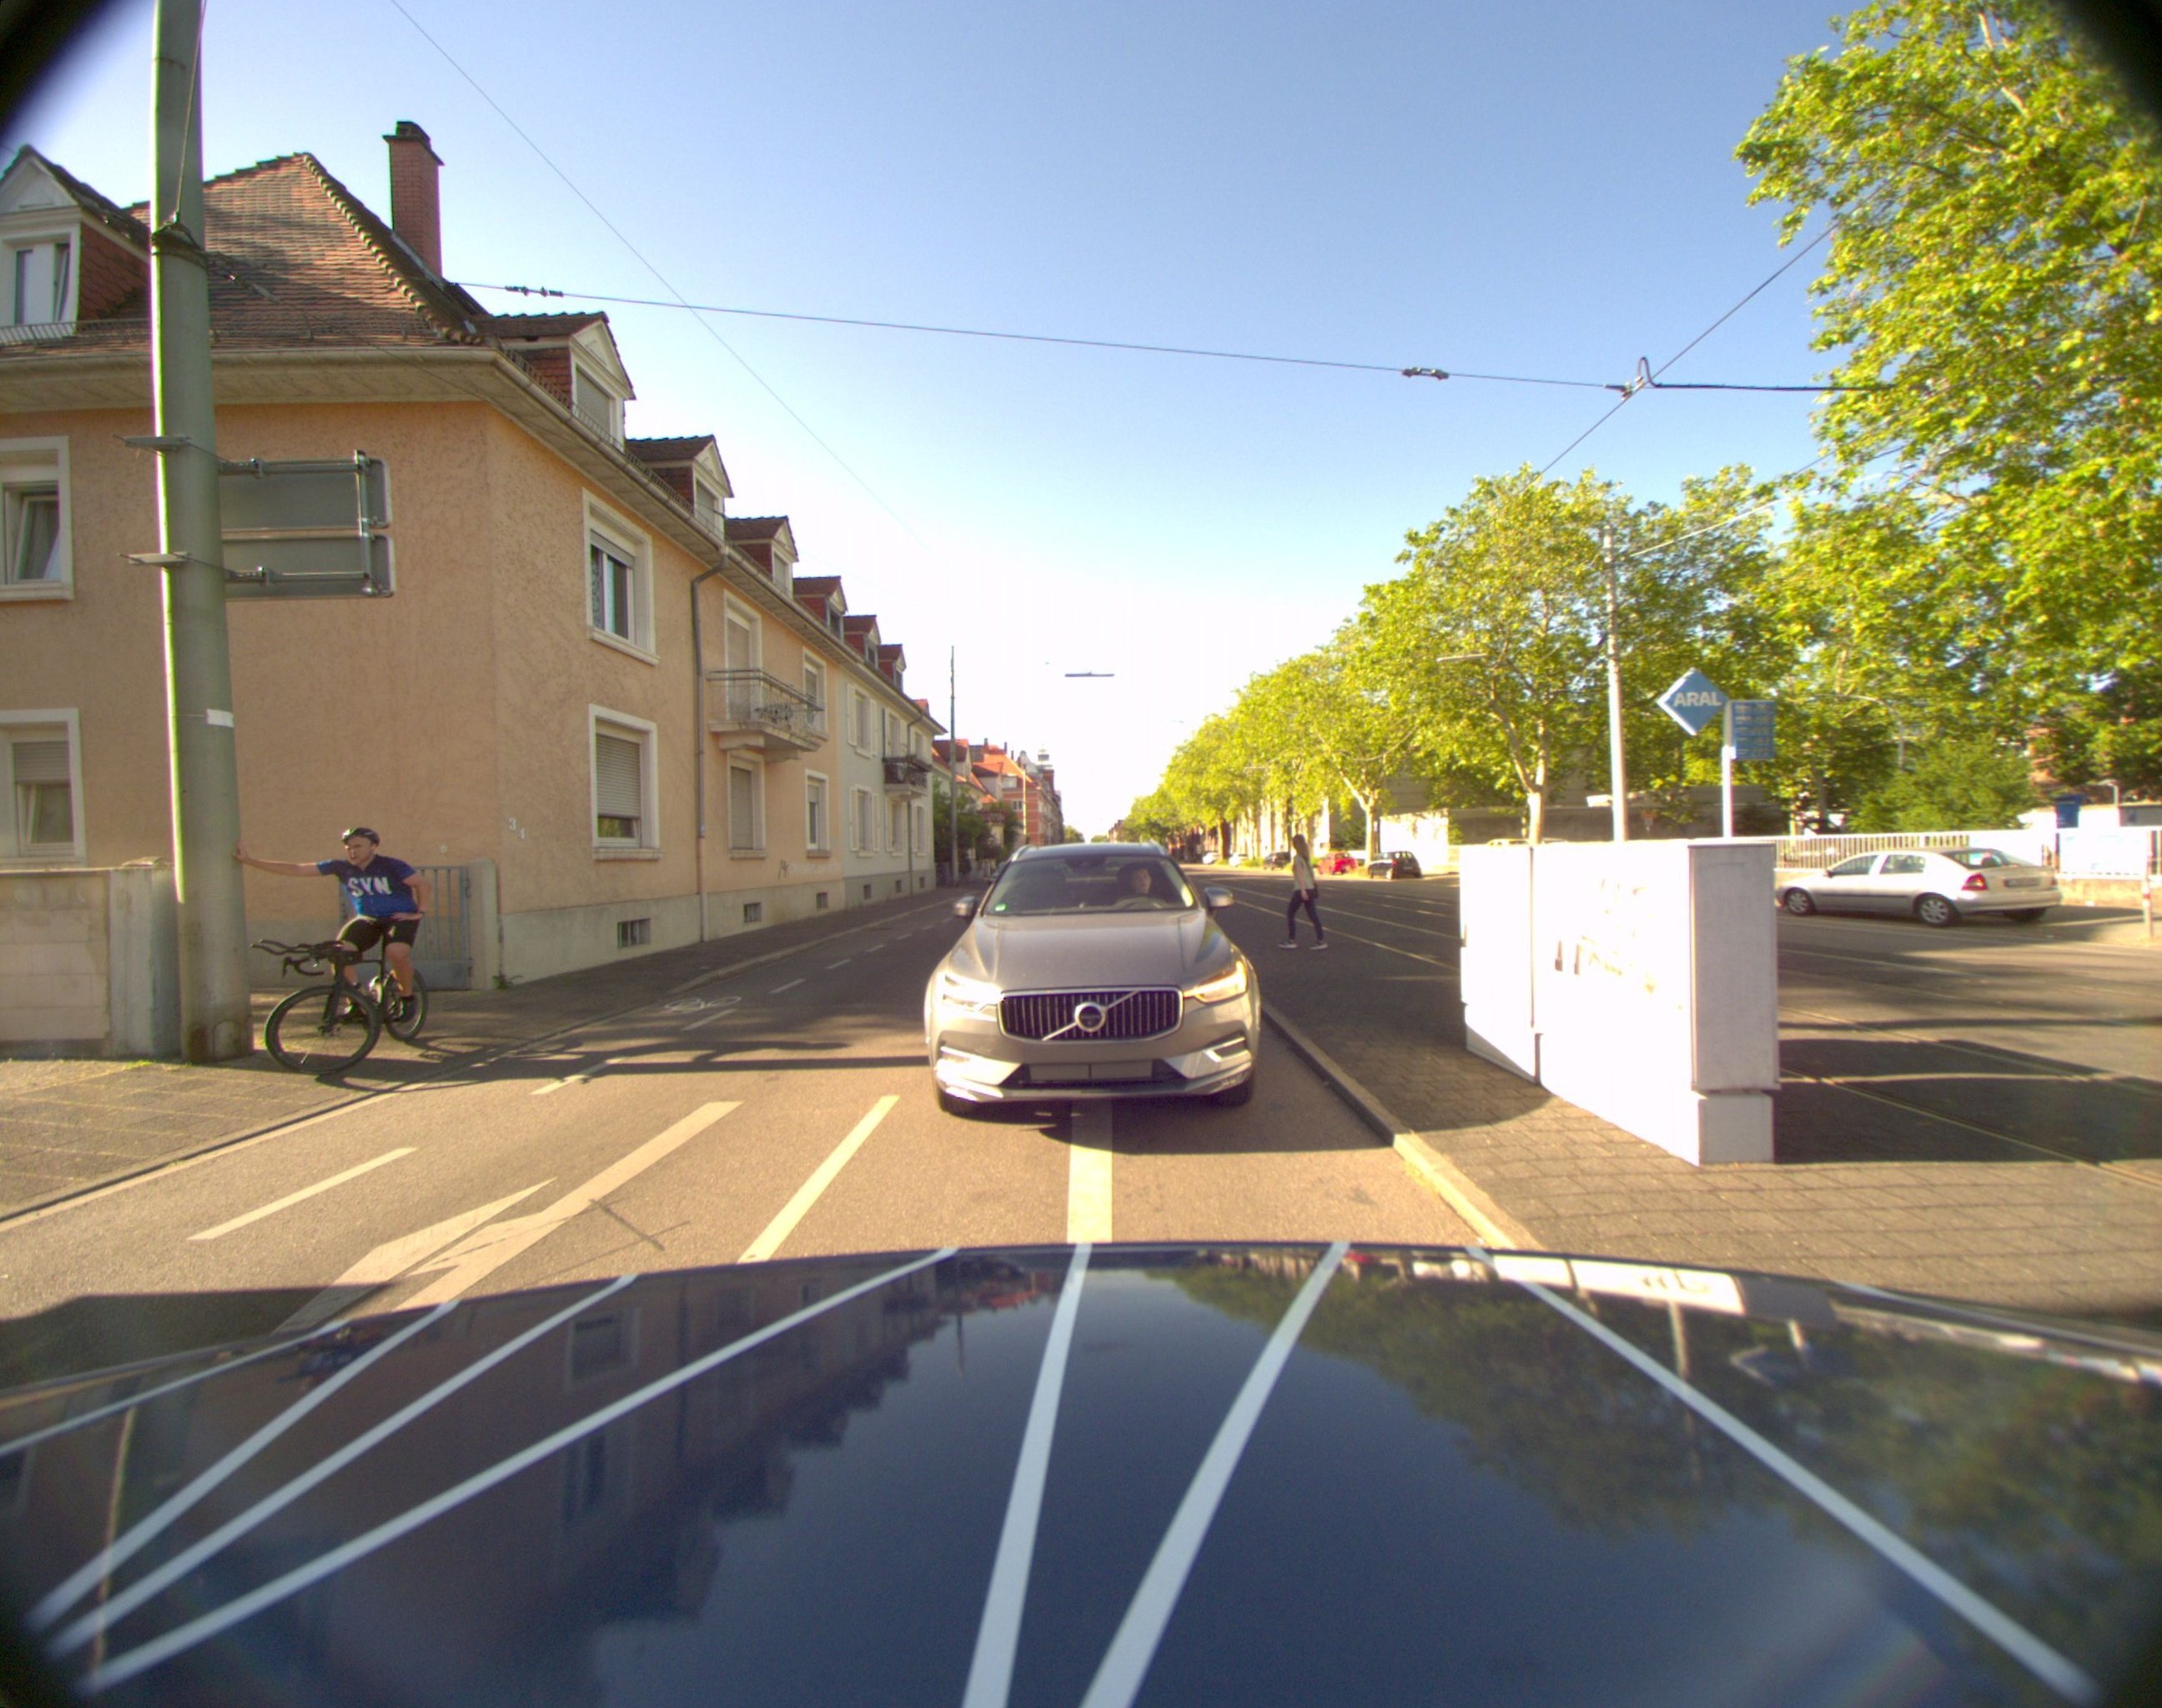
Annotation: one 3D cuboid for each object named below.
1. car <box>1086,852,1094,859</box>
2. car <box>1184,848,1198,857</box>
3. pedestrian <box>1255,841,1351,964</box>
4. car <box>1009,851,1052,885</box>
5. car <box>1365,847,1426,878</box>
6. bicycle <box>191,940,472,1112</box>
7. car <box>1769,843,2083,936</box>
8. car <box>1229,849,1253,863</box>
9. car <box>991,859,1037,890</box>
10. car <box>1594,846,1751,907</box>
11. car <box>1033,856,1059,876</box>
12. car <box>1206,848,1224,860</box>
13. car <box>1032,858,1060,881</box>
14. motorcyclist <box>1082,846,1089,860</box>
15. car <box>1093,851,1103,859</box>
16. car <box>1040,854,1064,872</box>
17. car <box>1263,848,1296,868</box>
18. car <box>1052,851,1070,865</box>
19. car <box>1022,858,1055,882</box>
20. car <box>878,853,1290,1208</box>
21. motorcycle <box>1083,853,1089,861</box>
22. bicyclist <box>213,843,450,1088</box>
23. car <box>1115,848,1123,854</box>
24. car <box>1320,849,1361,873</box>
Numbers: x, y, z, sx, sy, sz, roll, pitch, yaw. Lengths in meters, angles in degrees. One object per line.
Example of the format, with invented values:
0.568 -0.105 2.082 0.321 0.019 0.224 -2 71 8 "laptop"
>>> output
2.346 0.374 197.214 1.998 1.543 4.000 -1 0 1 "car"
18.201 -0.213 125.629 1.802 1.504 4.000 -1 0 1 "car"
3.165 0.658 10.890 0.696 1.652 1.096 -3 1 -30 "pedestrian"
-2.784 0.717 42.886 1.751 1.767 5.351 -1 0 3 "car"
16.887 0.425 40.981 1.826 1.521 3.653 -2 0 1 "car"
-5.938 1.301 6.177 0.572 0.986 1.698 2 0 1 "bicycle"
16.250 0.599 14.992 1.795 1.455 3.966 -4 0 2 "car"
17.551 0.226 83.427 1.802 1.489 4.000 -1 0 1 "car"
-3.206 0.965 37.027 1.647 1.357 3.868 -1 0 4 "car"
16.435 0.578 21.340 1.692 1.455 3.519 -4 0 2 "car"
-2.746 0.947 60.677 1.785 1.468 4.000 -1 0 1 "car"
17.739 -0.005 100.672 1.802 1.504 4.000 -1 0 1 "car"
-2.462 1.087 54.440 1.785 1.468 4.000 -1 0 1 "car"
0.655 -0.113 105.016 0.827 1.832 1.159 -2 1 1 "motorcyclist"
3.503 0.237 159.107 1.998 1.543 4.000 -1 0 1 "car"
-2.556 0.770 66.830 1.875 1.477 4.000 -1 0 1 "car"
17.200 0.290 66.042 1.802 1.652 4.000 -1 0 1 "car"
-2.199 0.453 85.492 1.875 1.477 4.000 -1 0 1 "car"
-2.679 0.993 48.305 1.785 1.346 4.000 -1 0 1 "car"
0.046 0.850 5.802 1.940 1.650 4.321 -1 0 1 "car"
0.659 0.374 104.959 0.792 1.095 2.519 0 0 1 "motorcycle"
-6.143 0.861 6.291 1.076 1.854 0.846 2 1 1 "bicyclist"
10.471 -0.775 207.155 1.998 1.652 4.000 -1 0 1 "car"
16.948 0.438 49.750 1.641 1.499 3.046 -1 0 1 "car"
